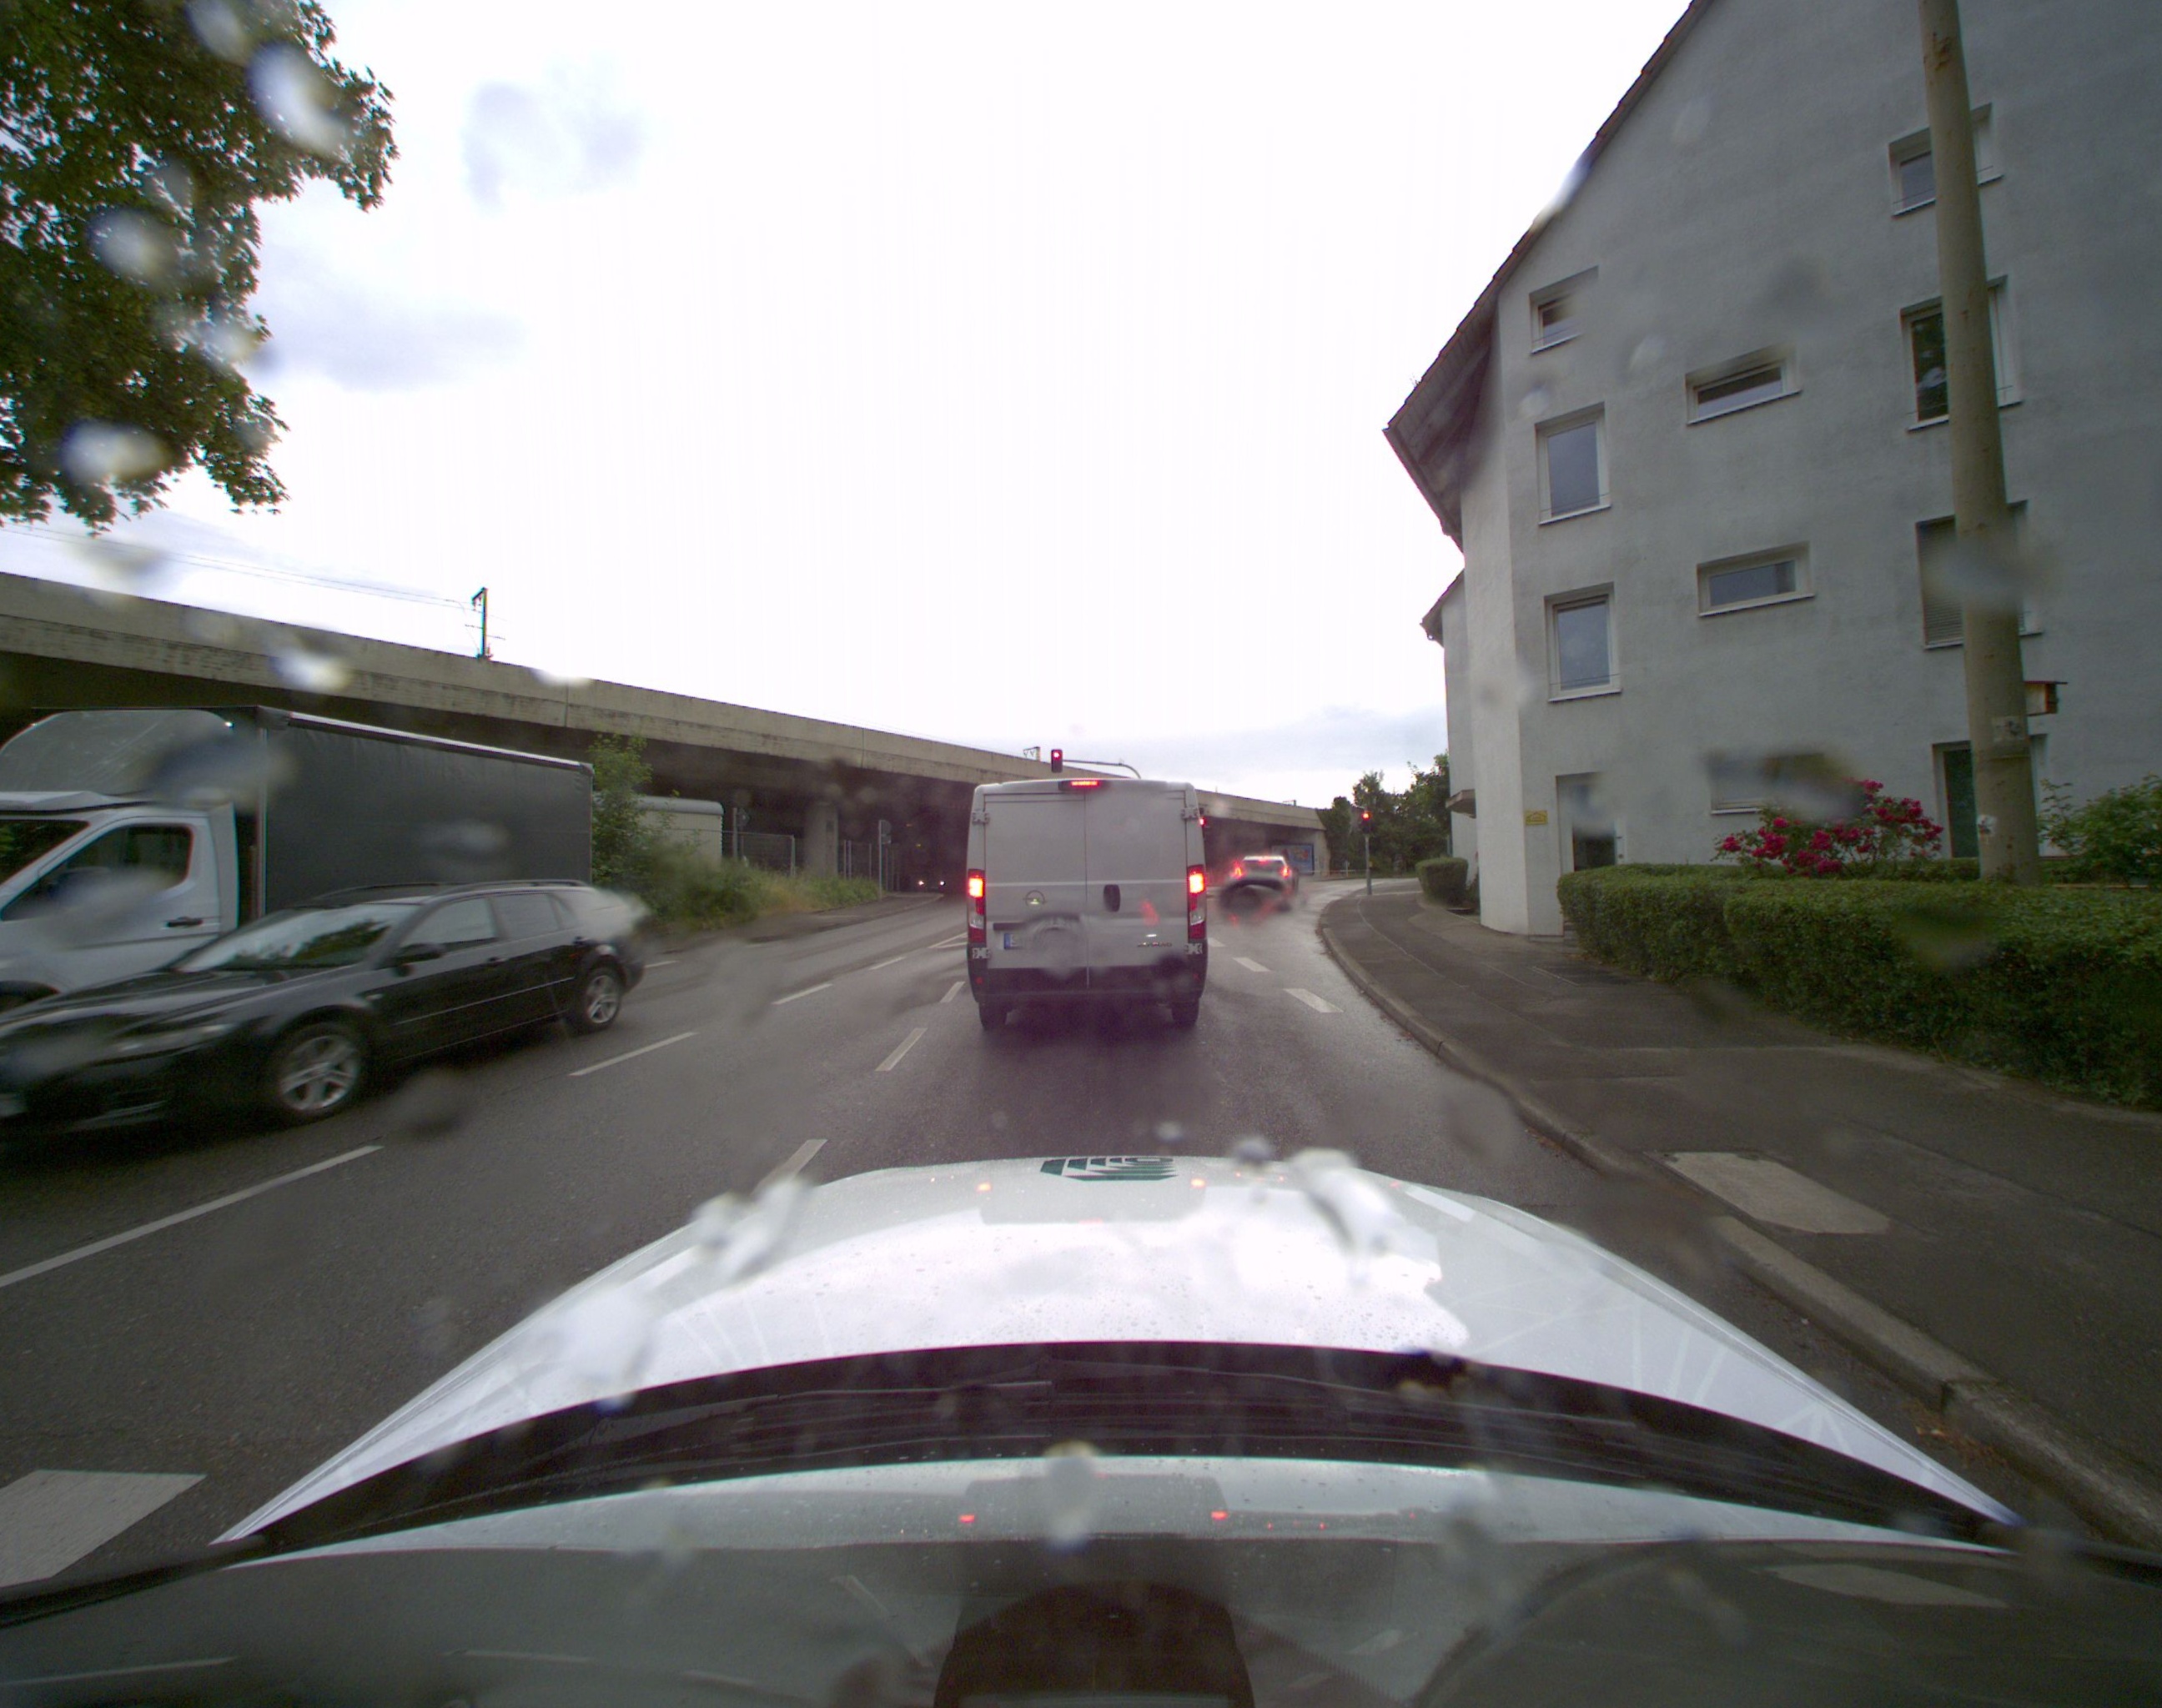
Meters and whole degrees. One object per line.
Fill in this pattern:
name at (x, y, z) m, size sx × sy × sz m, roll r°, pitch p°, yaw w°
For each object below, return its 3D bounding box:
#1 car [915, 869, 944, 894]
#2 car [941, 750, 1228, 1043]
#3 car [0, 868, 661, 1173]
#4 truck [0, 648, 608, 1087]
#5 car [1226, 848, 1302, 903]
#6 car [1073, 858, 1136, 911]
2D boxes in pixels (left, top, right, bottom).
car at (-10.828, 1.902, 57.916) m, size 1.916 × 1.626 × 4.416 m, roll -1°, pitch -1°, yaw -12°
car at (0.208, 0.368, 9.267) m, size 2.295 × 2.343 × 5.288 m, roll -1°, pitch 0°, yaw 4°
car at (-5.562, 0.927, 6.524) m, size 1.833 × 1.569 × 4.417 m, roll -1°, pitch -1°, yaw 4°
truck at (-9.087, 0.176, 9.173) m, size 2.599 × 3.237 × 7.782 m, roll -1°, pitch -1°, yaw 3°
car at (5.748, 0.683, 25.244) m, size 1.978 × 1.549 × 4.017 m, roll -1°, pitch -2°, yaw 17°
car at (0.894, 1.055, 28.756) m, size 1.984 × 1.729 × 4.004 m, roll -1°, pitch -2°, yaw 5°
